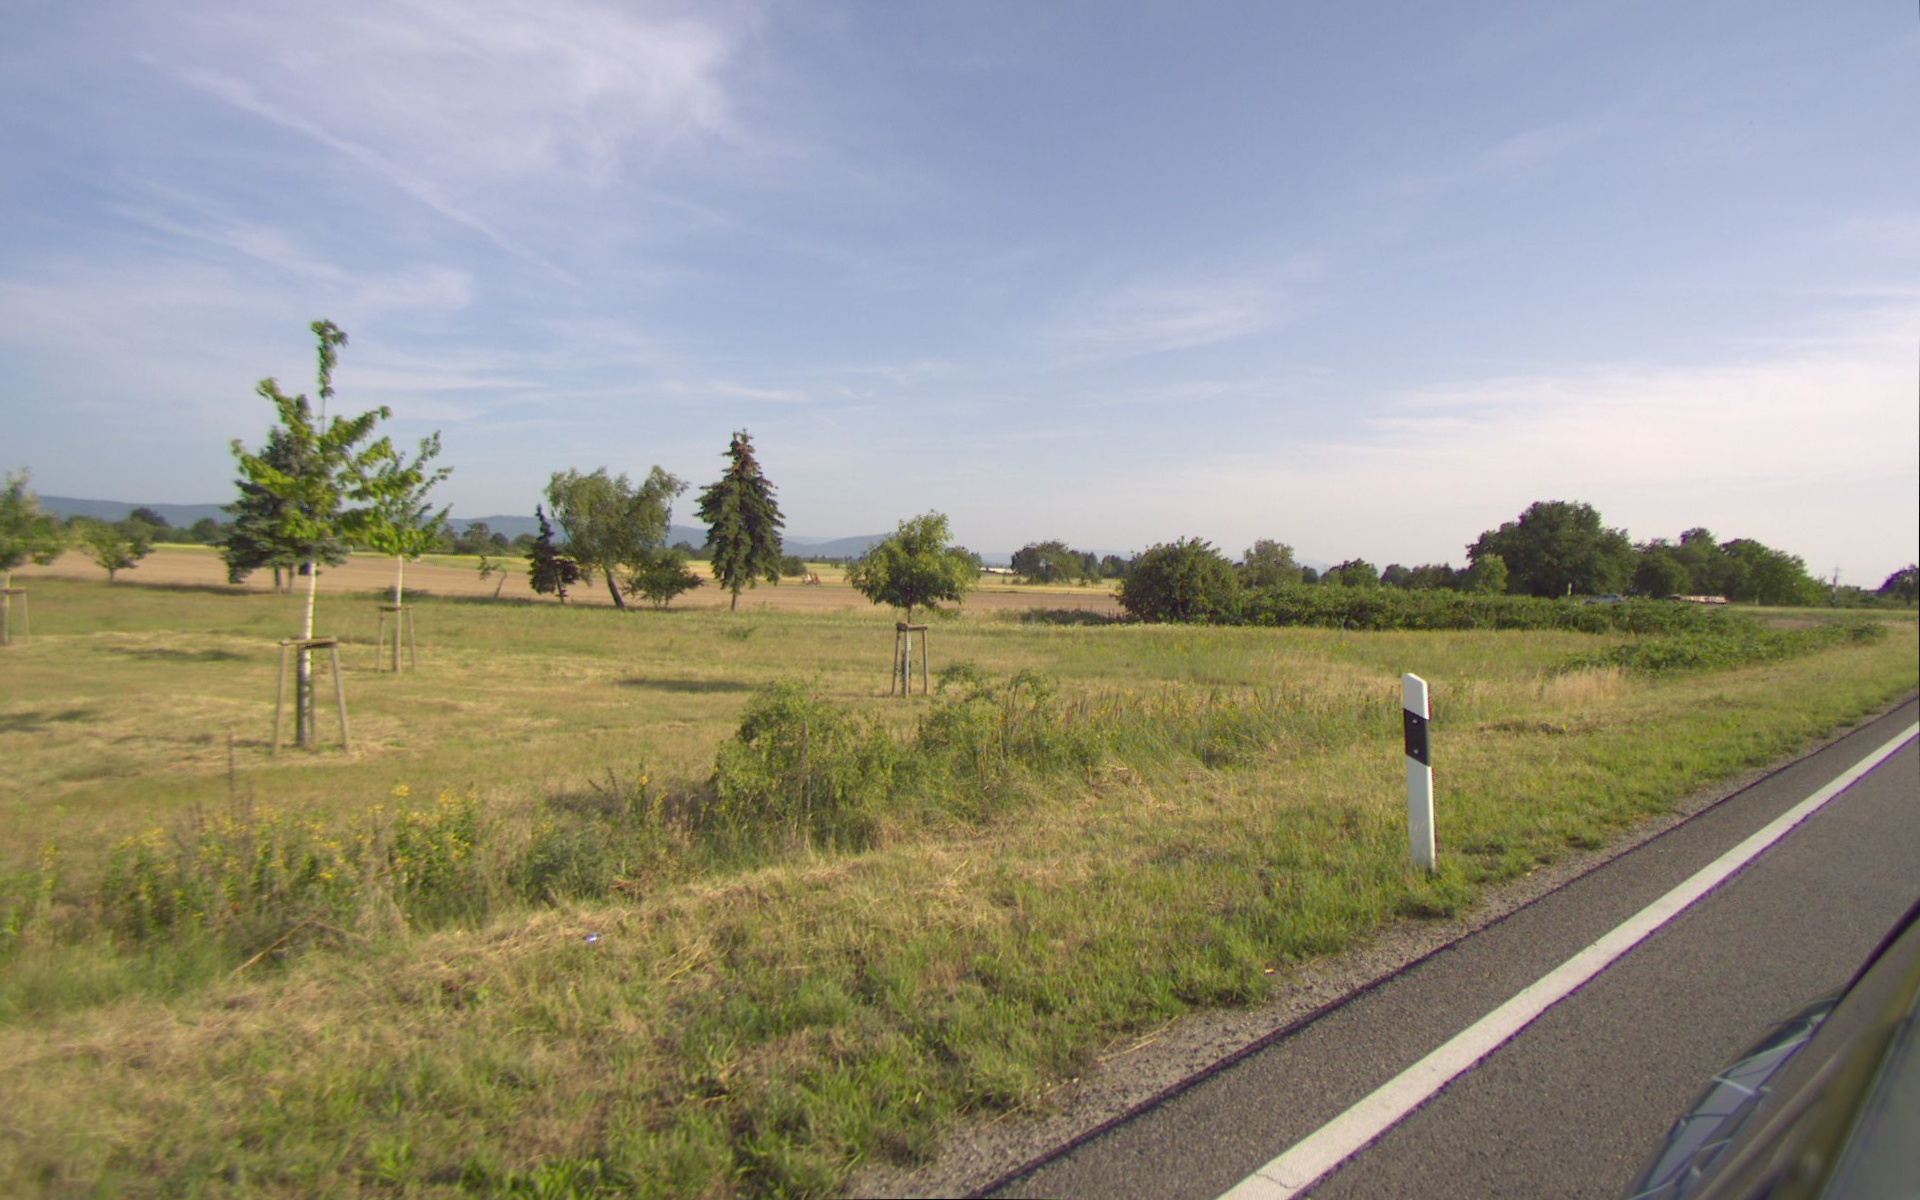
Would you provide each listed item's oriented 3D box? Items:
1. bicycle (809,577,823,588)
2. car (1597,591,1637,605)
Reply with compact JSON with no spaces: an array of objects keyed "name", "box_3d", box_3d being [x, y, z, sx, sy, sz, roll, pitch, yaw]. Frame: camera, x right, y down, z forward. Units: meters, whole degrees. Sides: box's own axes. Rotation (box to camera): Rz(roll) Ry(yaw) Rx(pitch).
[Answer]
[{"name":"bicycle","box_3d":[-20.853,-2.484,146.162,1.941,1.550,0.503,0,0,3]},{"name":"car","box_3d":[76.758,-0.255,118.237,3.973,1.672,1.975,0,0,35]}]
